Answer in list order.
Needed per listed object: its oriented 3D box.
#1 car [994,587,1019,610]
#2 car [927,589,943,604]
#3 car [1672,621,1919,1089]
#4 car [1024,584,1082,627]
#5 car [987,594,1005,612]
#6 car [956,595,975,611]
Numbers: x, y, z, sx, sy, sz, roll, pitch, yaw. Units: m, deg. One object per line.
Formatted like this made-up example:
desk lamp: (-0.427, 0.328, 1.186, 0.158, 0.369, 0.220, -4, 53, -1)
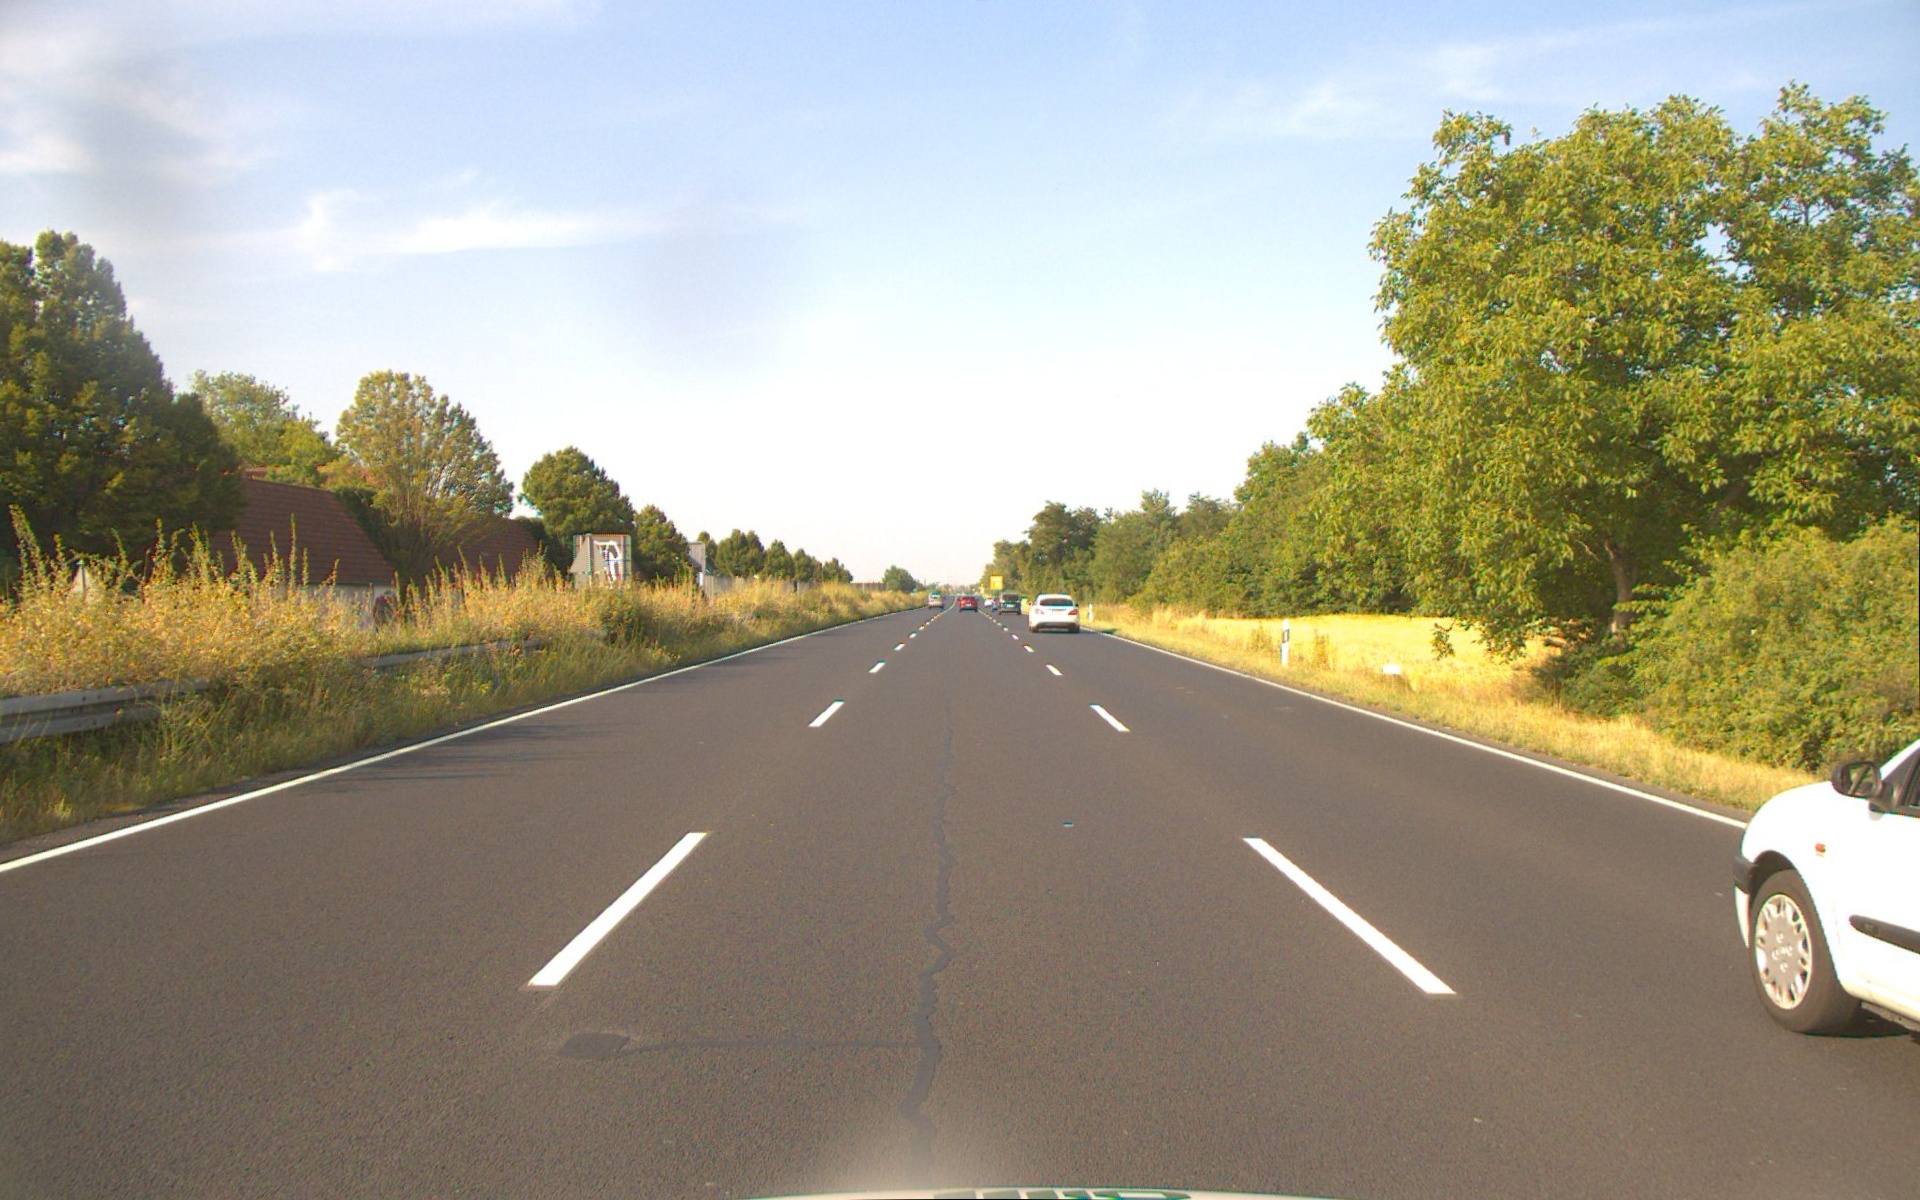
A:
car: (3.559, -0.111, 127.261, 1.790, 1.758, 3.999, 1, -1, 0)
car: (-2.900, -0.392, 194.713, 1.722, 1.646, 4.001, 1, -1, 2)
car: (3.714, 0.785, 4.770, 1.584, 1.411, 3.950, 1, -1, -1)
car: (3.541, 0.220, 63.515, 1.953, 1.543, 3.999, 1, -1, 0)
car: (3.618, 0.328, 167.042, 1.796, 1.747, 3.862, 1, -1, 0)
car: (0.500, 0.305, 154.996, 1.775, 1.461, 3.857, 1, -1, -1)
